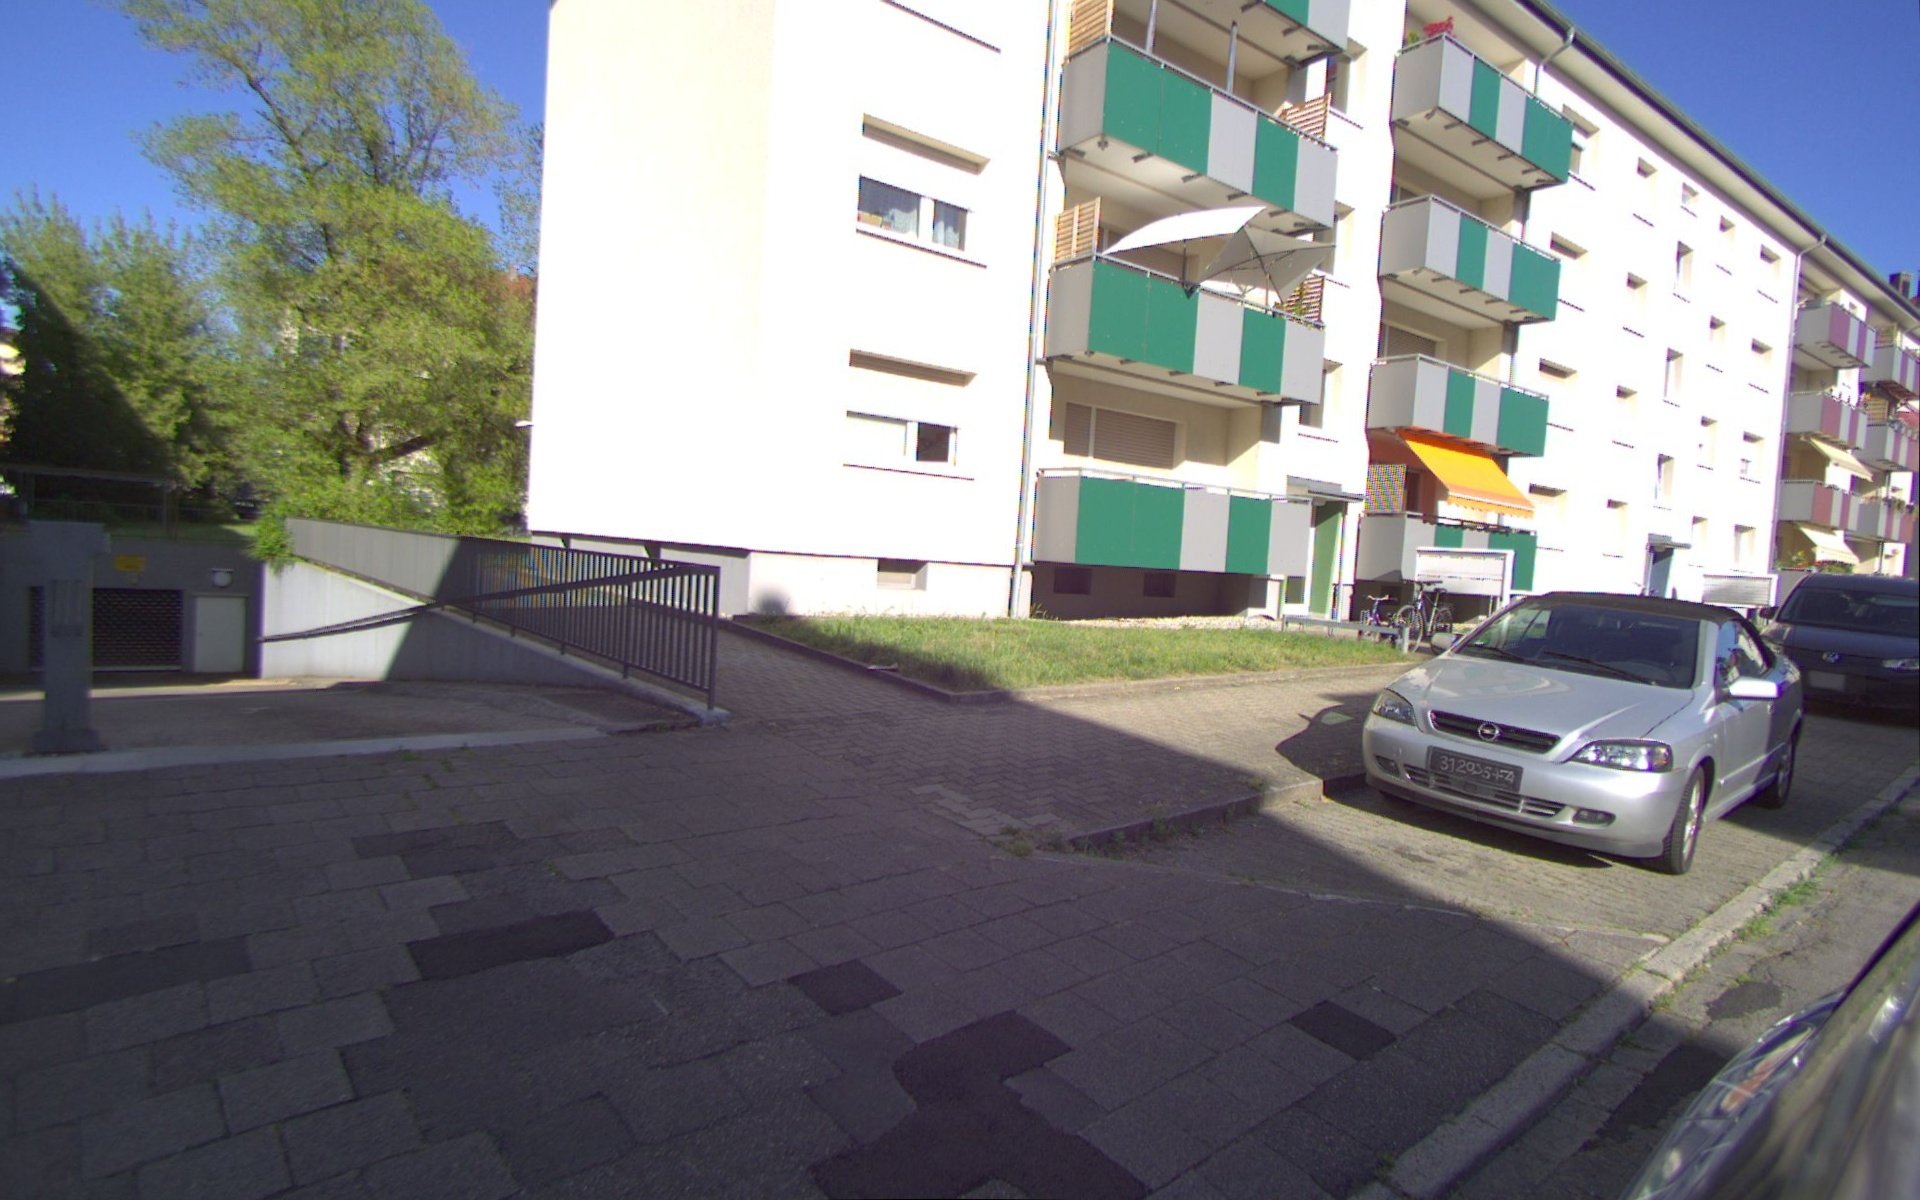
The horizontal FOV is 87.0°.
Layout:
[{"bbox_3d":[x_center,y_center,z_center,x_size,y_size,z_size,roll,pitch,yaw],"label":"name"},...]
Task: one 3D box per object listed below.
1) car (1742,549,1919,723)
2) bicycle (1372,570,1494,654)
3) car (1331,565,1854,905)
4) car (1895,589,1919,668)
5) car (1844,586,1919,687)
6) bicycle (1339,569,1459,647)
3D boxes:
[{"bbox_3d":[12.267,0.402,13.560,4.833,1.861,1.764,1,5,-41],"label":"car"},{"bbox_3d":[6.646,0.162,14.179,2.034,1.106,0.507,1,2,-33],"label":"bicycle"},{"bbox_3d":[4.373,0.610,6.696,4.240,1.423,1.746,0,6,-42],"label":"car"},{"bbox_3d":[19.920,0.636,19.814,3.789,1.465,1.669,1,5,-38],"label":"car"},{"bbox_3d":[16.251,0.619,16.752,3.789,1.476,1.645,1,5,-38],"label":"car"},{"bbox_3d":[6.386,0.120,14.674,2.034,1.057,0.507,1,2,-33],"label":"bicycle"}]
